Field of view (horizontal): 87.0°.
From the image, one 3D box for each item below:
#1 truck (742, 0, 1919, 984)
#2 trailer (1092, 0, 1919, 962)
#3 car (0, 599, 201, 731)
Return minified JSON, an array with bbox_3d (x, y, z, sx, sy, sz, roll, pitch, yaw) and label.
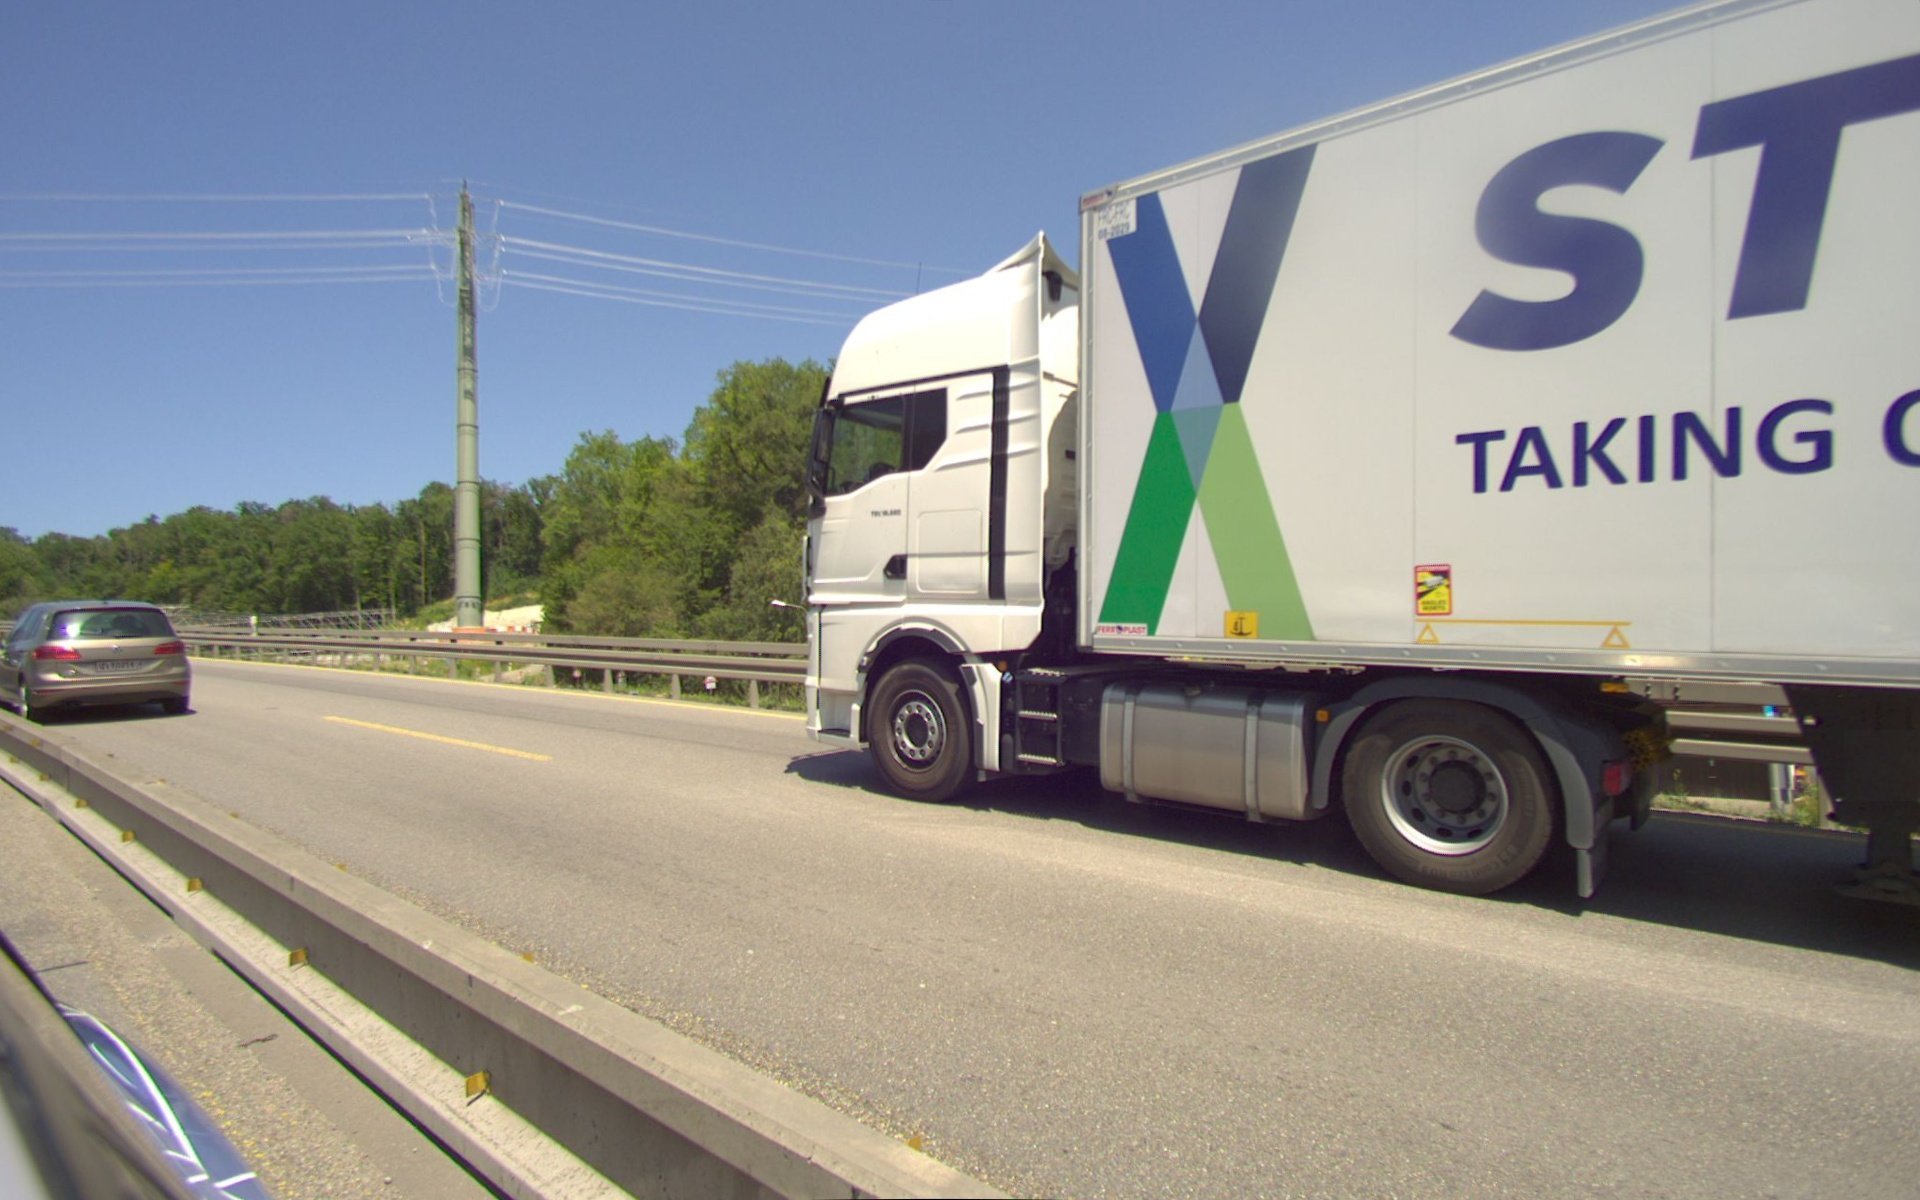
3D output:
[{"bbox_3d":[2.390,-0.791,6.945,8.297,4.395,3.269,0,1,41],"label":"truck"},{"bbox_3d":[7.137,-0.880,2.728,14.052,4.411,3.218,0,1,41],"label":"trailer"},{"bbox_3d":[-12.320,0.779,14.175,3.996,1.586,1.827,0,0,40],"label":"car"}]
